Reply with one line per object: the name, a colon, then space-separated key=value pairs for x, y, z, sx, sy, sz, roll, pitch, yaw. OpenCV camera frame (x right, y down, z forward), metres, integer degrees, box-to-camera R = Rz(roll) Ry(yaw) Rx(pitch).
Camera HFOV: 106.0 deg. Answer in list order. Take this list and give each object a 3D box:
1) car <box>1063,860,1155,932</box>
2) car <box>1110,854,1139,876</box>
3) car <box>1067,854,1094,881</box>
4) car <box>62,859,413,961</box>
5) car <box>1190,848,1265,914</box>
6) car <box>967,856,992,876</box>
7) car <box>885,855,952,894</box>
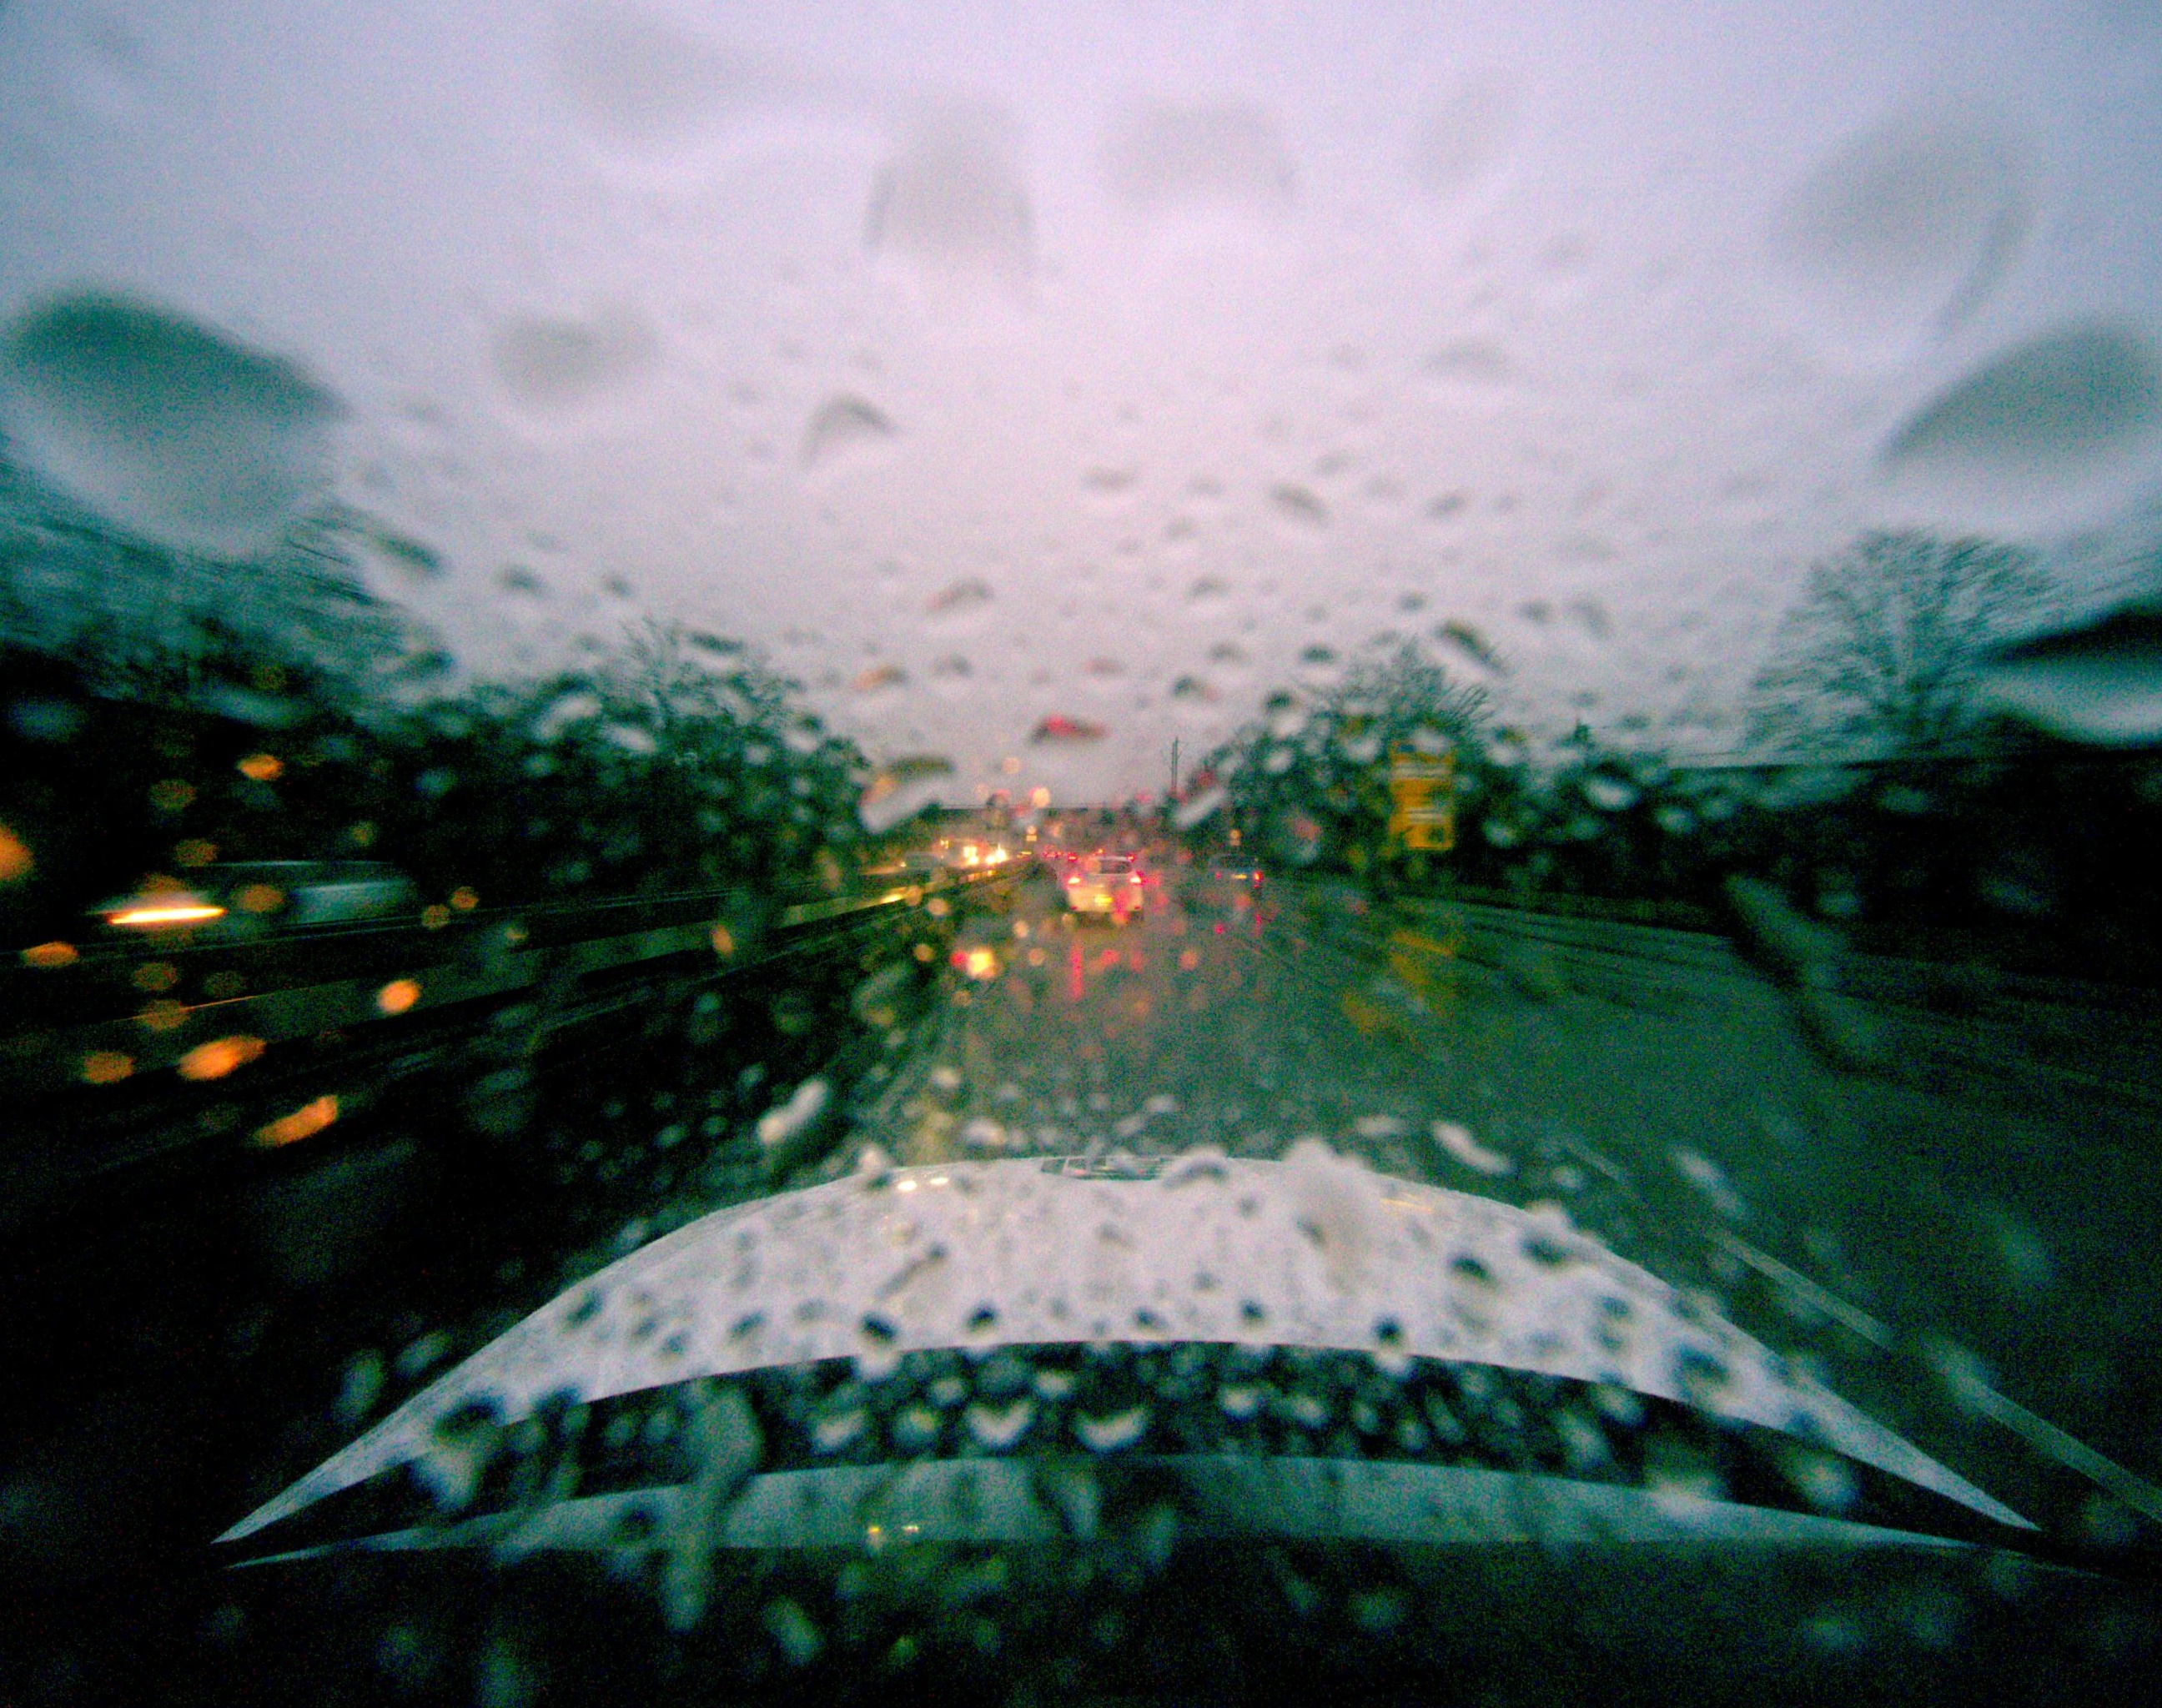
car: x=0.728 y=0.953 z=20.055 sx=2.016 sy=1.575 sz=4.003 roll=0 pitch=-1 yaw=3
car: x=3.581 y=0.919 z=68.388 sx=1.928 sy=1.546 sz=3.768 roll=-6 pitch=-2 yaw=-3
car: x=-0.062 y=1.071 z=64.725 sx=1.988 sy=2.014 sz=3.997 roll=0 pitch=-1 yaw=-2
car: x=-14.599 y=0.881 z=14.522 sx=1.856 sy=1.539 sz=4.114 roll=0 pitch=-1 yaw=1
car: x=4.794 y=0.855 z=27.132 sx=1.925 sy=2.019 sz=3.775 roll=0 pitch=-1 yaw=2
car: x=-8.731 y=1.026 z=70.314 sx=1.761 sy=1.684 sz=3.998 roll=0 pitch=-1 yaw=-1
car: x=-6.369 y=0.791 z=32.308 sx=1.748 sy=1.441 sz=4.001 roll=0 pitch=-1 yaw=1
